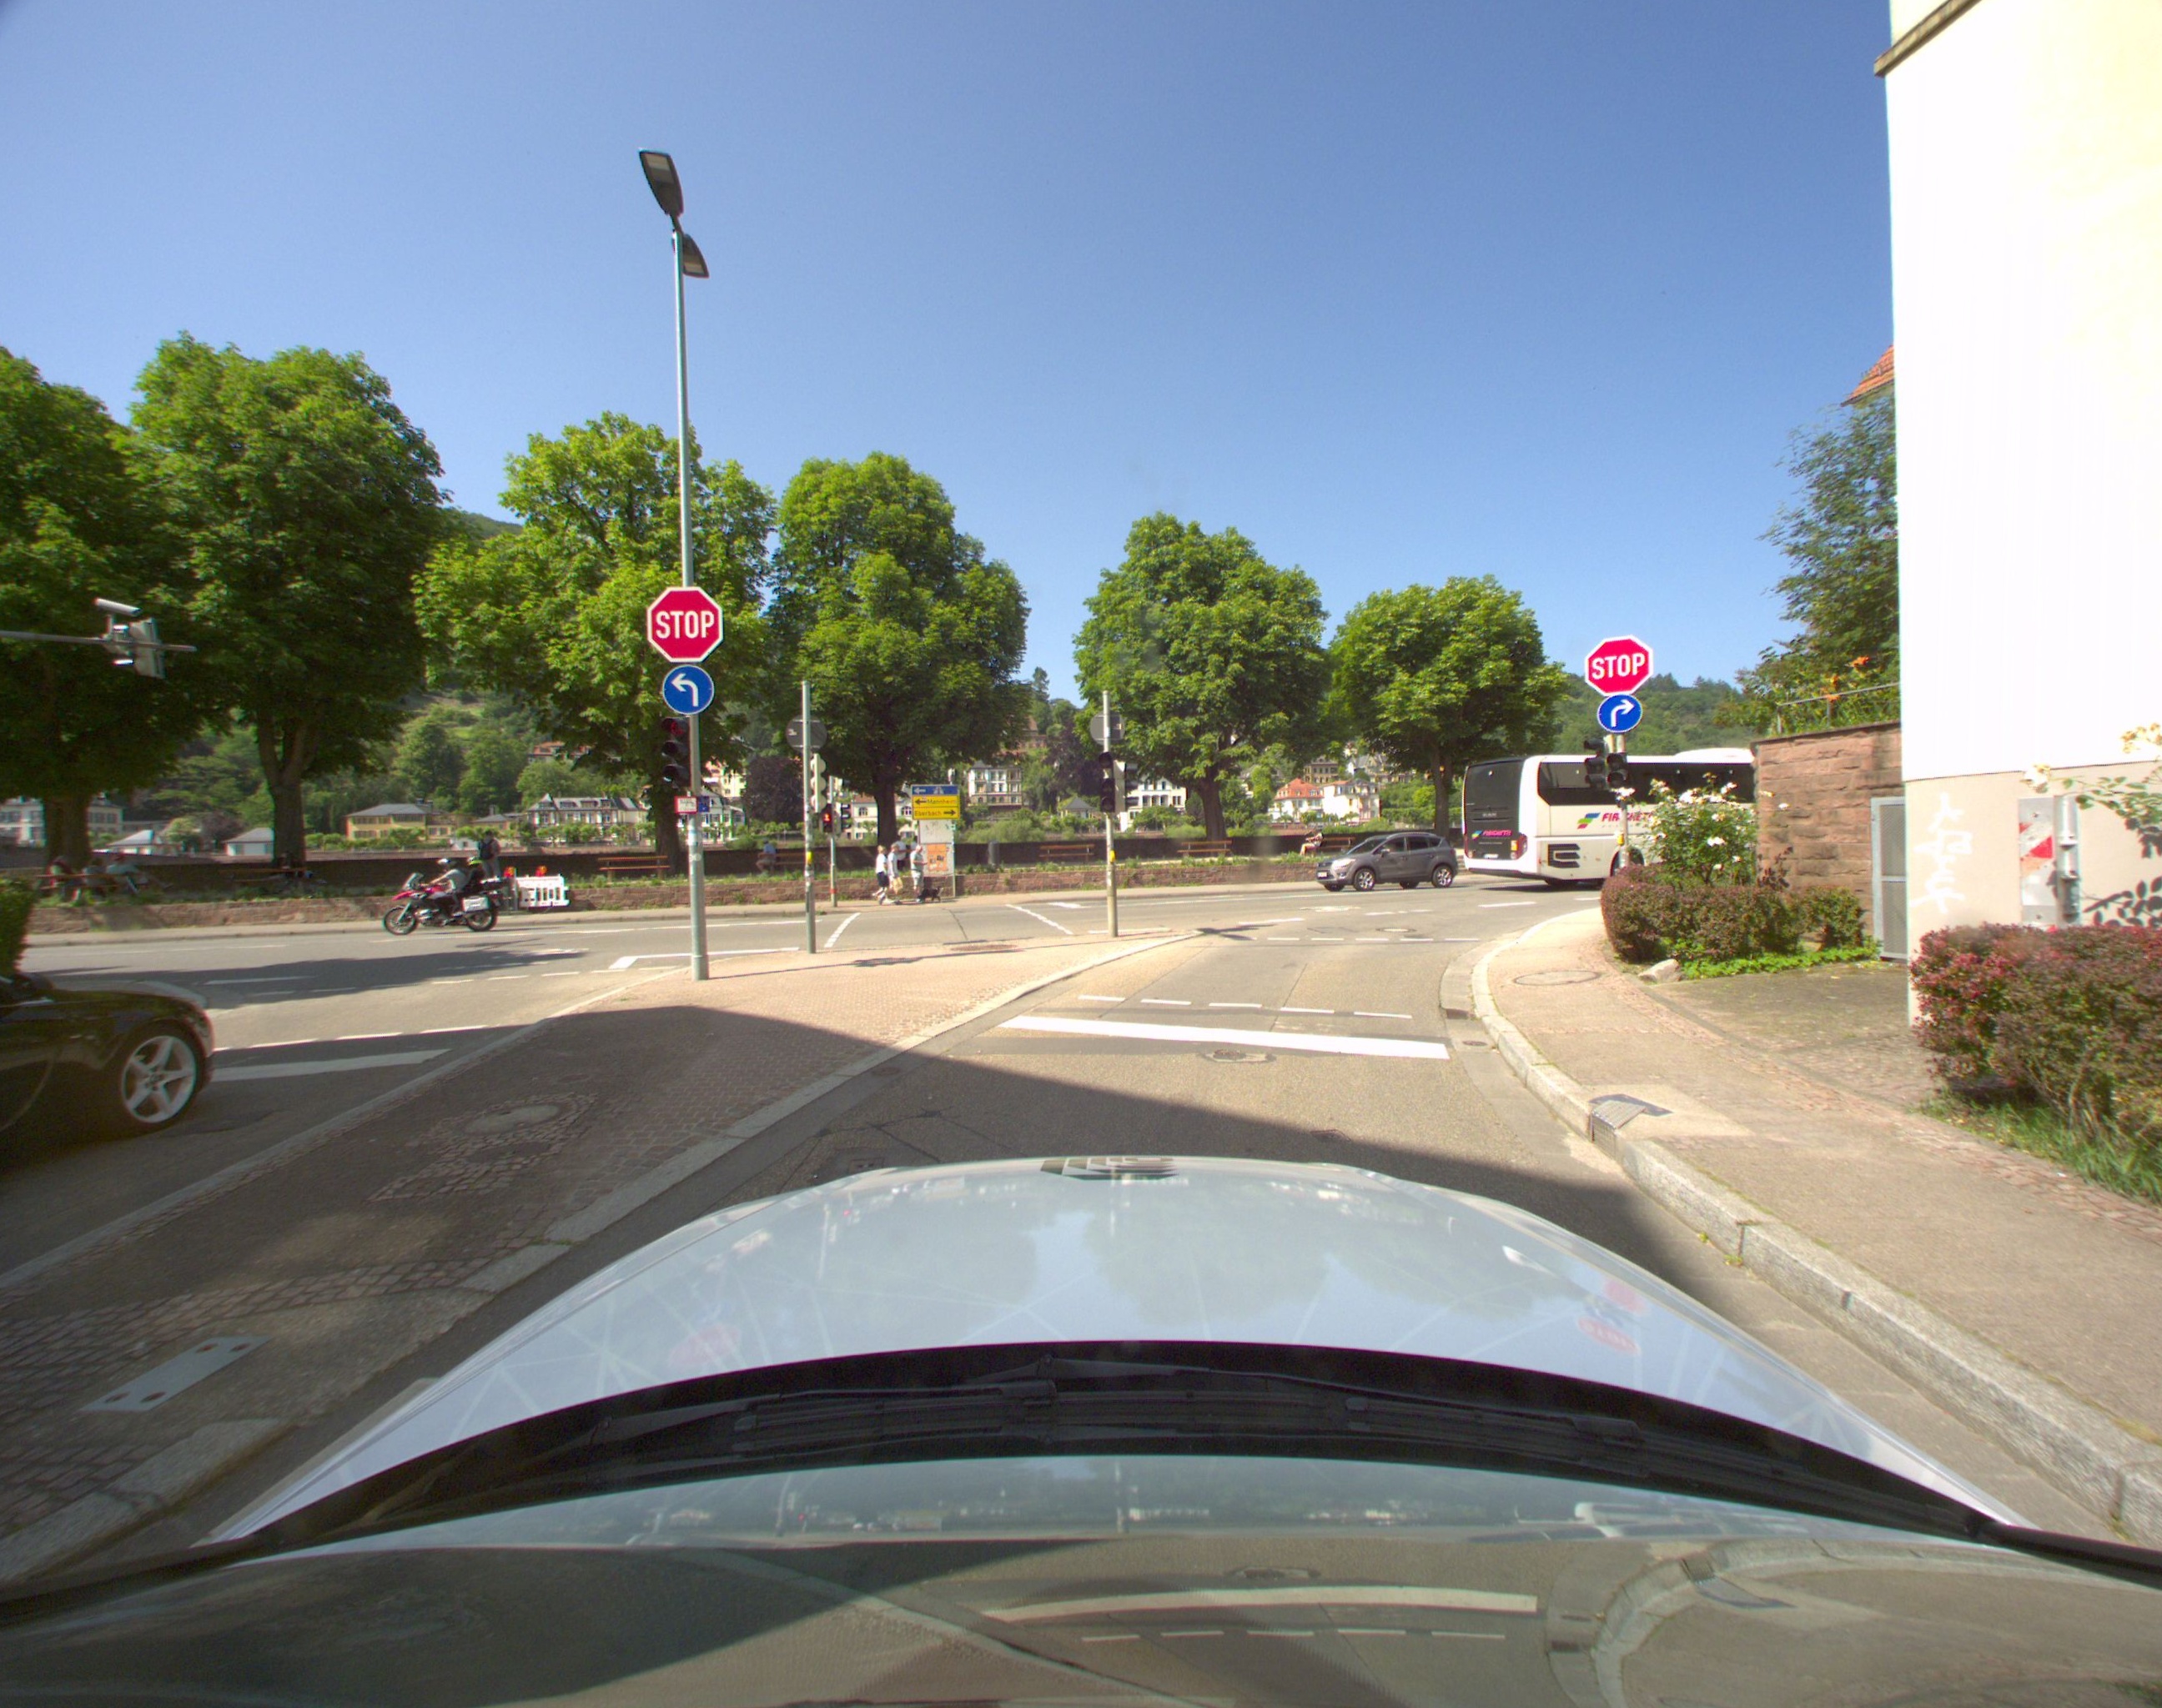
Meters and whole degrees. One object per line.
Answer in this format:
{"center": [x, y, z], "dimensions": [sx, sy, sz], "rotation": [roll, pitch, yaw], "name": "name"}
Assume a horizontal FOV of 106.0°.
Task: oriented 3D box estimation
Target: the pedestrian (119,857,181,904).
{"center": [-26.424, 0.731, 23.136], "dimensions": [0.467, 1.270, 1.220], "rotation": [-2, 0, -9], "name": "pedestrian"}

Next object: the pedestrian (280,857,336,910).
{"center": [-22.713, 0.845, 23.954], "dimensions": [0.467, 1.479, 1.380], "rotation": [-2, 0, -9], "name": "pedestrian"}

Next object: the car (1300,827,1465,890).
{"center": [9.094, 0.152, 24.659], "dimensions": [4.404, 1.754, 1.834], "rotation": [-1, -3, -16], "name": "car"}

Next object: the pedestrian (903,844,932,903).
{"center": [-4.994, 0.596, 24.906], "dimensions": [0.690, 1.769, 0.712], "rotation": [-3, -1, -20], "name": "pedestrian"}

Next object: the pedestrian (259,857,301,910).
{"center": [-23.206, 0.839, 23.603], "dimensions": [0.467, 1.493, 0.802], "rotation": [-2, 0, -9], "name": "pedestrian"}

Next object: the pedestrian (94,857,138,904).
{"center": [-26.909, 0.732, 22.724], "dimensions": [0.467, 1.270, 0.629], "rotation": [-2, 0, -9], "name": "pedestrian"}

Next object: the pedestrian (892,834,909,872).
{"center": [-6.257, -0.015, 28.197], "dimensions": [0.553, 1.279, 0.701], "rotation": [1, -4, -13], "name": "pedestrian"}

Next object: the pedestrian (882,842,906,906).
{"center": [-5.426, 0.566, 23.676], "dimensions": [0.578, 1.802, 0.703], "rotation": [-2, 0, -11], "name": "pedestrian"}

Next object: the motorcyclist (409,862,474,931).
{"center": [-14.460, 0.946, 18.435], "dimensions": [0.873, 1.494, 0.814], "rotation": [-2, 0, -16], "name": "motorcyclist"}

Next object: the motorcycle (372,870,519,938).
{"center": [-14.339, 1.100, 18.453], "dimensions": [2.468, 1.376, 0.759], "rotation": [-2, 0, -16], "name": "motorcycle"}

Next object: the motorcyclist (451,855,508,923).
{"center": [-13.756, 0.778, 18.651], "dimensions": [0.772, 1.493, 0.814], "rotation": [-2, 0, -16], "name": "motorcyclist"}

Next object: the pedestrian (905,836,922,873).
{"center": [-5.833, 0.028, 28.354], "dimensions": [0.553, 1.228, 0.981], "rotation": [1, -4, -13], "name": "pedestrian"}

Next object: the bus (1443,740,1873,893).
{"center": [16.515, -1.093, 23.216], "dimensions": [12.162, 3.788, 2.892], "rotation": [-2, -1, -15], "name": "bus"}

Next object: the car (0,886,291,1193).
{"center": [-6.156, 1.000, 3.511], "dimensions": [1.716, 1.462, 4.702], "rotation": [-4, 0, -14], "name": "car"}

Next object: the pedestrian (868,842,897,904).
{"center": [-5.973, 0.572, 24.521], "dimensions": [0.722, 1.802, 0.631], "rotation": [-3, -1, -11], "name": "pedestrian"}

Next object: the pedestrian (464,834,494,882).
{"center": [-21.734, 0.148, 29.424], "dimensions": [0.711, 1.732, 0.751], "rotation": [-1, -1, -24], "name": "pedestrian"}

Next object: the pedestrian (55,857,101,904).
{"center": [-27.778, 0.734, 22.561], "dimensions": [0.467, 1.270, 0.629], "rotation": [-2, 0, -9], "name": "pedestrian"}

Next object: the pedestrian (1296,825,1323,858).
{"center": [8.985, -0.485, 32.049], "dimensions": [0.798, 1.211, 0.713], "rotation": [0, -4, -10], "name": "pedestrian"}

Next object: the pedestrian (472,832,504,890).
{"center": [-19.571, 0.235, 26.873], "dimensions": [0.767, 1.858, 0.749], "rotation": [-1, -1, -31], "name": "pedestrian"}

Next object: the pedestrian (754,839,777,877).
{"center": [-10.354, 0.124, 26.743], "dimensions": [0.644, 1.228, 0.411], "rotation": [-2, 0, -26], "name": "pedestrian"}
